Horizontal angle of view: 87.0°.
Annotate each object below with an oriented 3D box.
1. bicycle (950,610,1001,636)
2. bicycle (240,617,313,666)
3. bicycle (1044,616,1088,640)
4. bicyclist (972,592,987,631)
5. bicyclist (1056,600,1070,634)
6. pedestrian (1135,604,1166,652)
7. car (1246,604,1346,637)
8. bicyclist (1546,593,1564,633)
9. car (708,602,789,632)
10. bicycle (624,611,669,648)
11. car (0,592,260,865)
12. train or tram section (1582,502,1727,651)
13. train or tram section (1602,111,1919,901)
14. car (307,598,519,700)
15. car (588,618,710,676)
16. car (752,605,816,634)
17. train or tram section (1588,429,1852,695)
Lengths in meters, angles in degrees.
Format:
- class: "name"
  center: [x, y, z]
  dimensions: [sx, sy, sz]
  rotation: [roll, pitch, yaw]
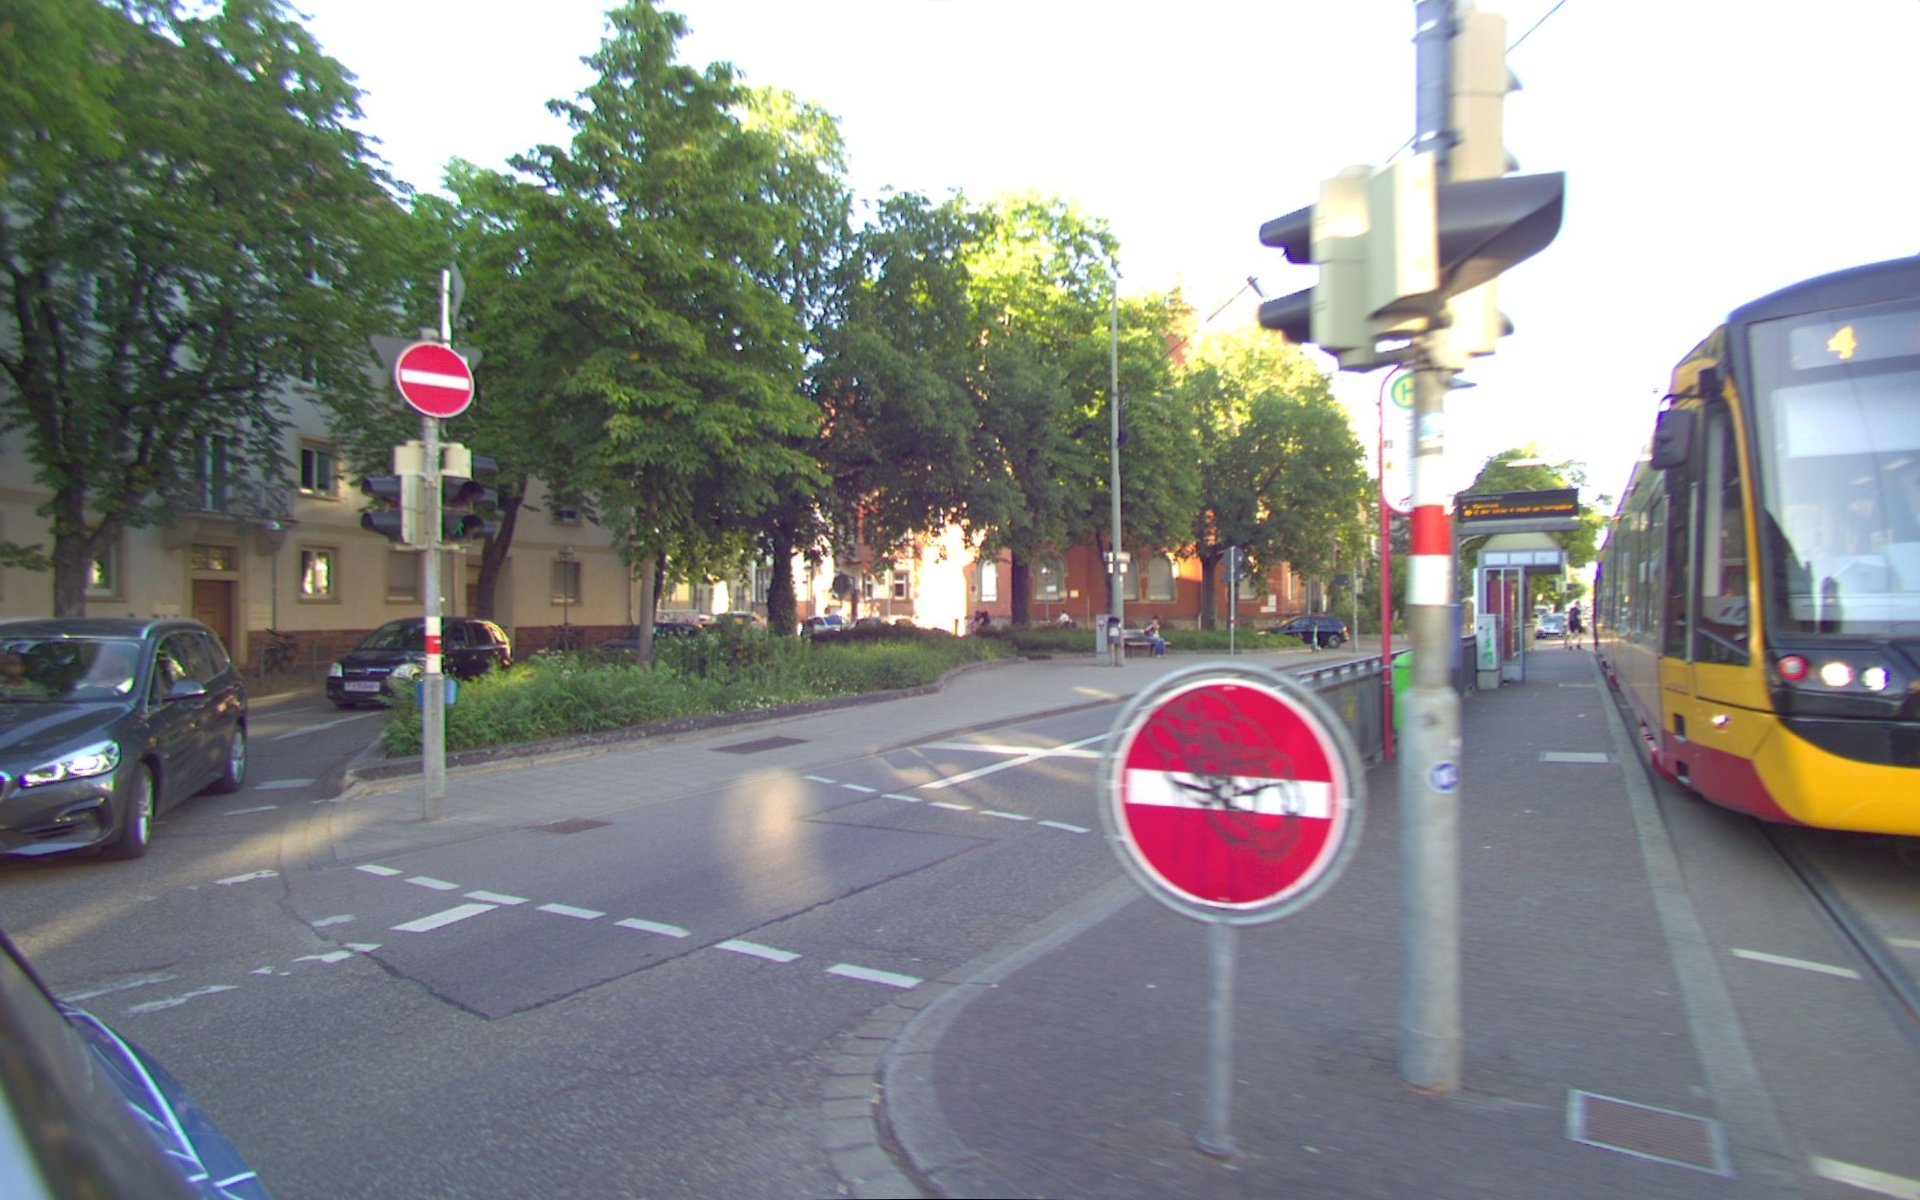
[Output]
- class: "bicycle"
  center: [0.625, 0.943, 41.255]
  dimensions: [1.963, 1.065, 0.635]
  rotation: [-1, -1, 15]
- class: "bicycle"
  center: [-16.689, 0.985, 24.761]
  dimensions: [0.790, 1.127, 1.862]
  rotation: [-1, 0, -9]
- class: "bicycle"
  center: [4.956, 1.310, 47.107]
  dimensions: [1.963, 1.065, 0.635]
  rotation: [-1, -1, 15]
- class: "bicyclist"
  center: [0.788, 0.466, 41.202]
  dimensions: [0.497, 1.585, 0.492]
  rotation: [-1, -1, 17]
- class: "bicyclist"
  center: [4.785, 0.775, 47.158]
  dimensions: [0.550, 1.585, 0.595]
  rotation: [-1, -1, 14]
- class: "pedestrian"
  center: [5.812, 0.851, 30.871]
  dimensions: [0.709, 1.454, 0.592]
  rotation: [-1, 0, 38]
- class: "car"
  center: [15.190, 0.915, 45.947]
  dimensions: [3.954, 1.454, 1.973]
  rotation: [-1, 0, 9]
- class: "bicyclist"
  center: [23.815, 0.528, 40.518]
  dimensions: [0.596, 1.585, 0.549]
  rotation: [-1, -1, 34]
- class: "car"
  center: [-10.915, 0.874, 52.317]
  dimensions: [3.744, 1.436, 1.679]
  rotation: [-1, -1, -40]
- class: "bicycle"
  center: [-11.381, 1.055, 36.786]
  dimensions: [0.760, 1.315, 1.896]
  rotation: [0, 0, 12]
- class: "car"
  center: [-6.831, 0.784, 7.689]
  dimensions: [1.763, 1.590, 4.275]
  rotation: [0, -1, -25]
- class: "train or tram section"
  center: [20.401, -0.553, 30.366]
  dimensions: [2.764, 3.584, 12.547]
  rotation: [-1, -1, 31]
- class: "train or tram section"
  center: [7.842, -0.461, 9.419]
  dimensions: [2.791, 3.647, 11.676]
  rotation: [-1, -1, 31]
- class: "car"
  center: [-9.838, 0.826, 18.530]
  dimensions: [1.659, 1.641, 3.682]
  rotation: [1, -1, 5]
- class: "car"
  center: [-8.569, 1.247, 28.178]
  dimensions: [1.664, 1.419, 3.673]
  rotation: [1, 0, 12]
- class: "car"
  center: [-9.886, 1.094, 56.569]
  dimensions: [1.777, 1.564, 4.194]
  rotation: [0, -1, -37]
- class: "train or tram section"
  center: [14.004, -0.510, 19.705]
  dimensions: [2.776, 3.614, 12.288]
  rotation: [-1, -1, 31]
